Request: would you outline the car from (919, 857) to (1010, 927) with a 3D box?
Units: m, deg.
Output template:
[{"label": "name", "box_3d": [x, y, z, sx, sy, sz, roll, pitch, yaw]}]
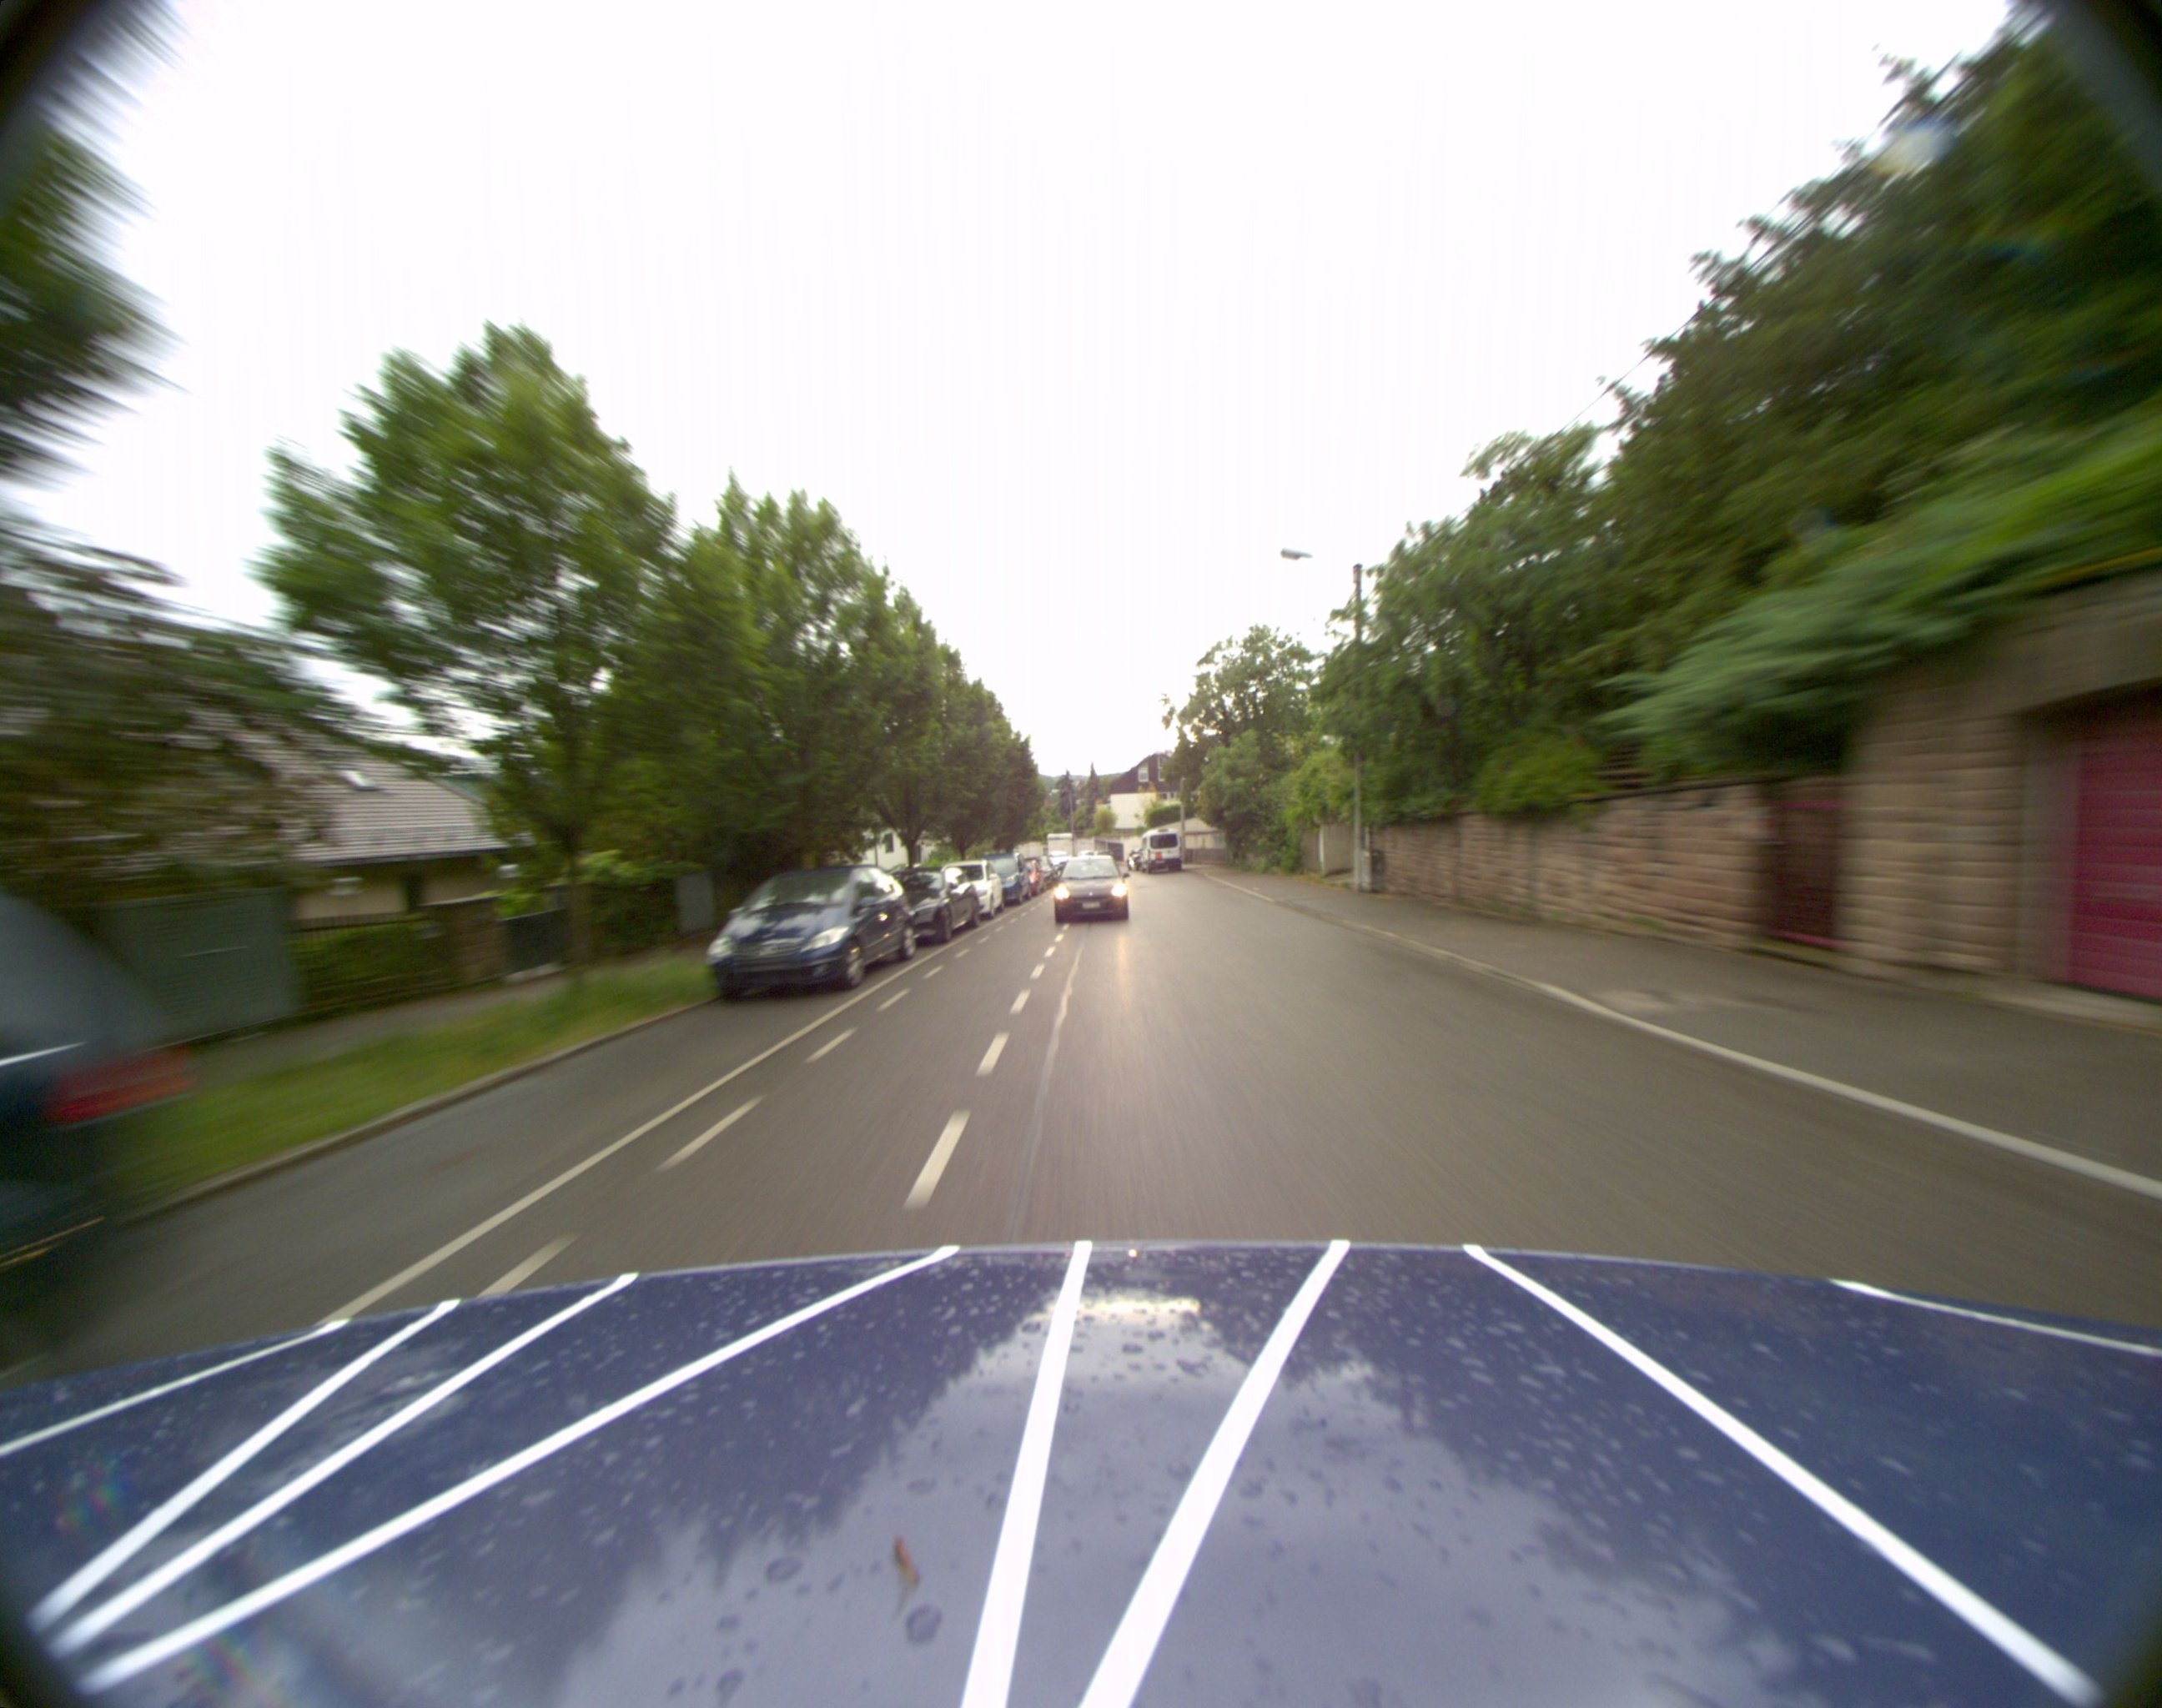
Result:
[{"label": "car", "box_3d": [-3.124, 0.975, 21.245, 1.788, 1.599, 4.223, -4, 0, 0]}]

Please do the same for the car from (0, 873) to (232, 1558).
[{"label": "car", "box_3d": [-3.715, 1.009, 0.150, 1.785, 1.773, 4.678, -4, 0, -1]}]

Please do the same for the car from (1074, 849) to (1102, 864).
[{"label": "car", "box_3d": [0.684, 0.236, 78.866, 1.839, 1.431, 4.034, -4, 1, -15]}]

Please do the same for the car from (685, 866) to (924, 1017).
[{"label": "car", "box_3d": [-3.650, 1.068, 10.868, 1.697, 1.561, 3.923, -4, 0, 3]}]

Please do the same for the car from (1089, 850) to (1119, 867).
[{"label": "car", "box_3d": [2.122, 0.381, 72.144, 1.719, 1.451, 4.677, -4, 1, -12]}]

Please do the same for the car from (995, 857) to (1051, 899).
[{"label": "car", "box_3d": [-2.354, 0.954, 31.828, 1.652, 1.473, 4.020, -5, 0, 4]}]

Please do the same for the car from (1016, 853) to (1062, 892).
[{"label": "car", "box_3d": [-1.962, 0.847, 36.848, 1.718, 1.547, 4.164, -6, 0, 2]}]

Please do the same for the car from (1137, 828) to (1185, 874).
[{"label": "car", "box_3d": [4.834, -0.190, 46.827, 2.099, 2.535, 6.096, -4, 0, 0]}]

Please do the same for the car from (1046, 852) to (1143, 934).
[{"label": "car", "box_3d": [0.383, 0.777, 17.260, 1.892, 1.521, 4.057, -2, 1, 3]}]

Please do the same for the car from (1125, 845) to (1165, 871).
[{"label": "car", "box_3d": [4.538, 0.254, 54.185, 1.901, 1.681, 4.542, -4, 1, -6]}]

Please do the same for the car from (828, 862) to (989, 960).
[{"label": "car", "box_3d": [-3.413, 1.062, 16.166, 1.998, 1.528, 4.850, -5, 0, 3]}]

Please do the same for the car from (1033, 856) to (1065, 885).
[{"label": "car", "box_3d": [-2.027, 1.005, 48.966, 1.780, 1.544, 4.727, -6, 1, -2]}]

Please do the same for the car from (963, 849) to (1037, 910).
[{"label": "car", "box_3d": [-2.733, 0.811, 26.628, 1.782, 1.841, 4.425, -5, 0, 2]}]
